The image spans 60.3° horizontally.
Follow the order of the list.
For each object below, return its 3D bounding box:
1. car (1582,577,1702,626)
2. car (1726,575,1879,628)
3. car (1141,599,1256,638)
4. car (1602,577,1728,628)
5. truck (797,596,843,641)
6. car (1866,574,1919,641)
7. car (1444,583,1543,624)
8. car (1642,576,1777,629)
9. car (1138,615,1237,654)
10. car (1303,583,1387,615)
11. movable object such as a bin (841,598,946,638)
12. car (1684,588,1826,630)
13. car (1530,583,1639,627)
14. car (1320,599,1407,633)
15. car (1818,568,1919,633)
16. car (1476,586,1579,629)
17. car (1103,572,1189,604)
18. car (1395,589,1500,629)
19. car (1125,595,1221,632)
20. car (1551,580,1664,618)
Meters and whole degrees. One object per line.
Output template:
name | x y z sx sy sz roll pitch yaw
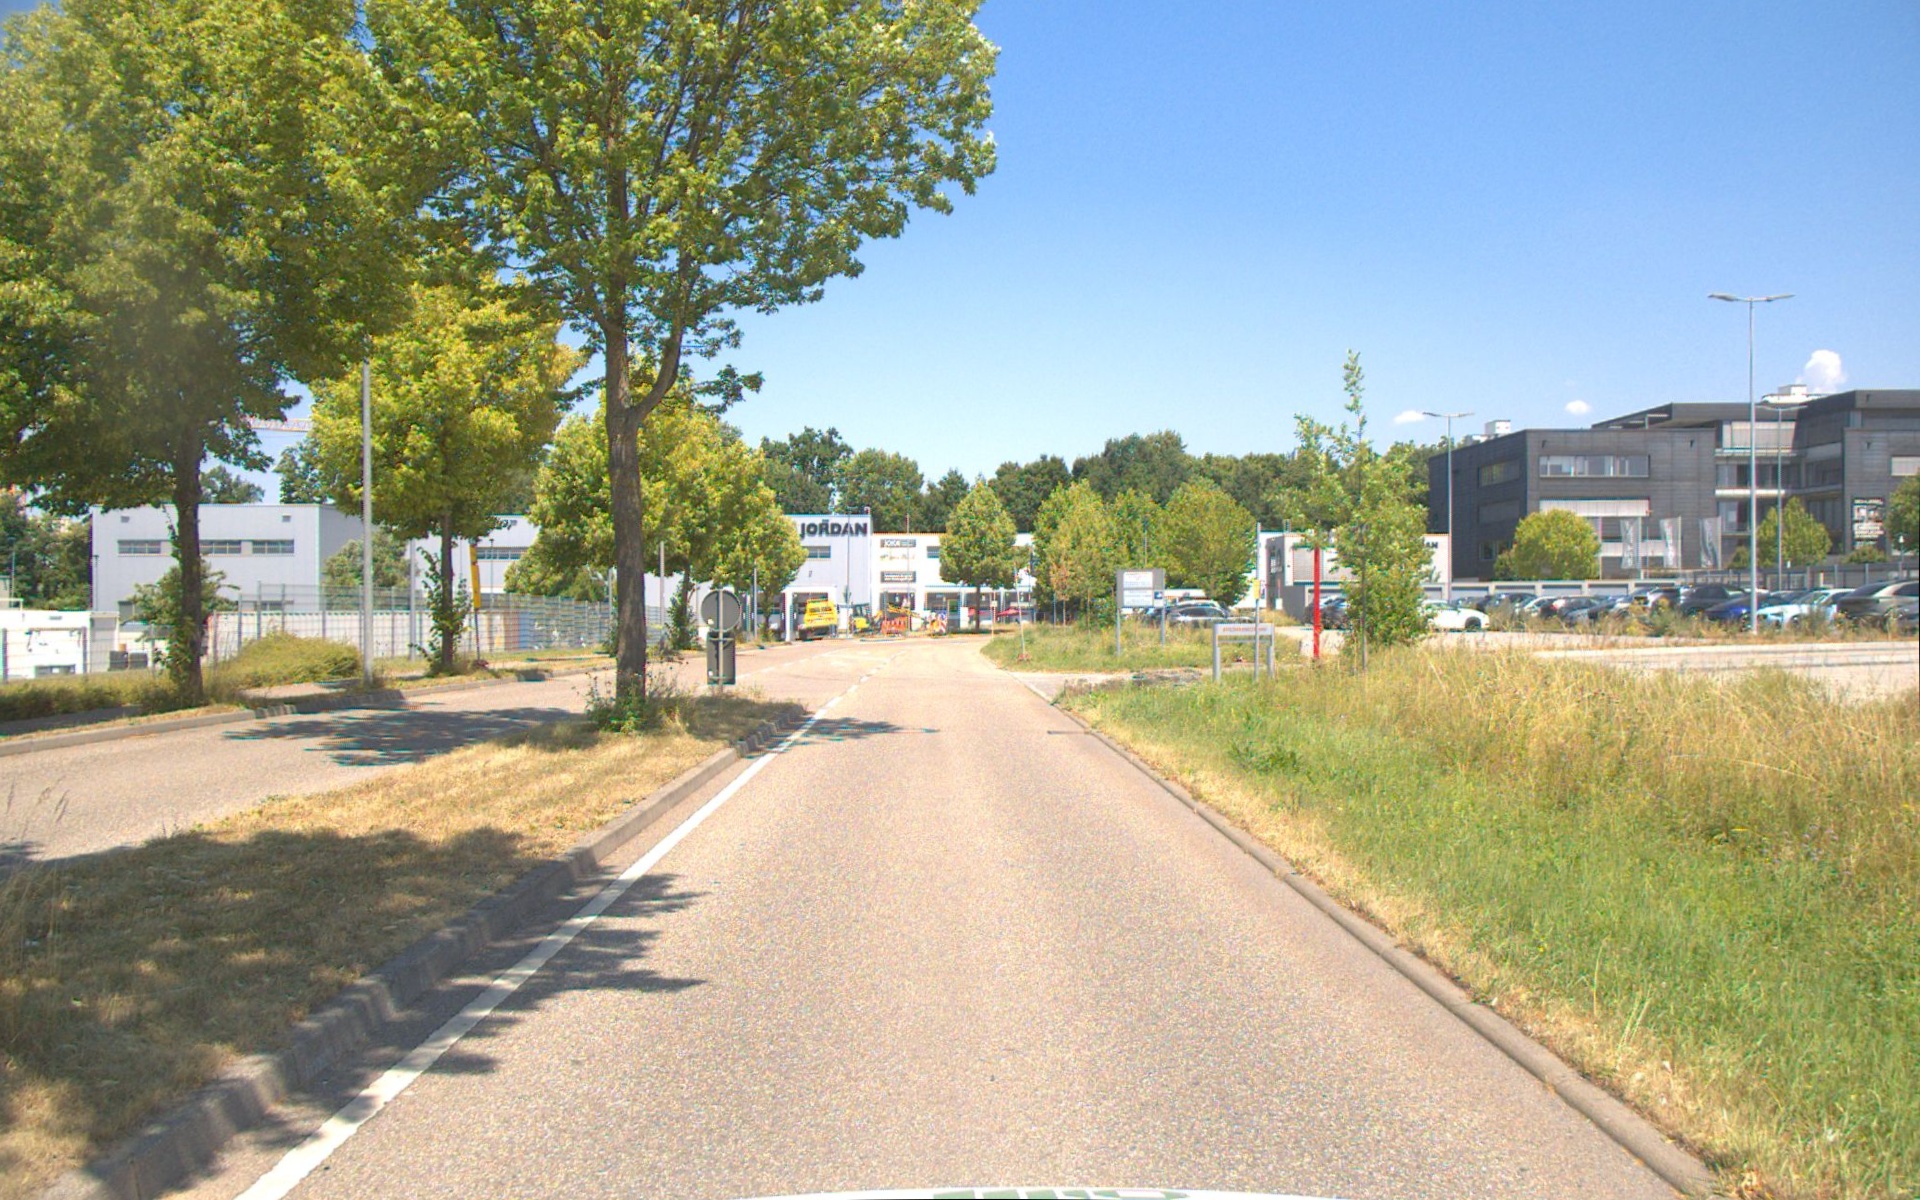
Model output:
car | 26.153 0.044 63.479 3.909 1.623 1.768 -2 3 -5
car | 26.230 0.021 51.565 3.909 1.417 1.768 -2 3 -5
car | 10.176 0.778 70.769 4.607 1.424 1.922 -2 3 1
car | 25.936 0.086 60.880 3.909 1.623 1.768 -2 3 -5
truck | -10.649 1.348 125.290 2.885 2.935 5.798 -2 3 -9
car | 26.510 0.132 43.992 3.909 1.623 1.768 -2 3 -5
car | 24.336 0.138 75.464 3.909 1.623 1.768 -2 3 -5
car | 26.241 0.068 57.973 3.909 1.623 1.860 -2 3 -5
car | 10.087 1.517 73.446 4.081 1.424 1.768 -2 3 -5
car | 20.043 -0.075 86.252 3.909 1.424 1.768 -2 3 -5
movable object such as a bin | -5.004 1.356 125.569 7.366 2.543 3.670 -2 3 7
car | 26.411 0.284 54.978 3.909 1.128 1.768 -2 3 -5
car | 26.347 0.210 69.818 3.909 1.623 1.768 -2 3 -5
car | 20.305 0.788 83.256 3.909 1.424 1.768 -2 3 -5
car | 26.550 -0.030 46.248 4.281 1.623 1.768 -2 3 -5
car | 24.912 0.304 72.650 3.909 1.623 1.768 -2 3 -5
car | 9.525 -0.620 84.748 4.081 1.424 1.768 -2 3 -5
car | 20.629 0.367 70.094 3.908 1.424 1.768 -2 3 -4
car | 9.800 0.610 76.255 4.081 1.424 1.768 -2 3 -5
car | 26.241 -0.064 67.087 3.909 1.293 1.768 -2 3 -5
